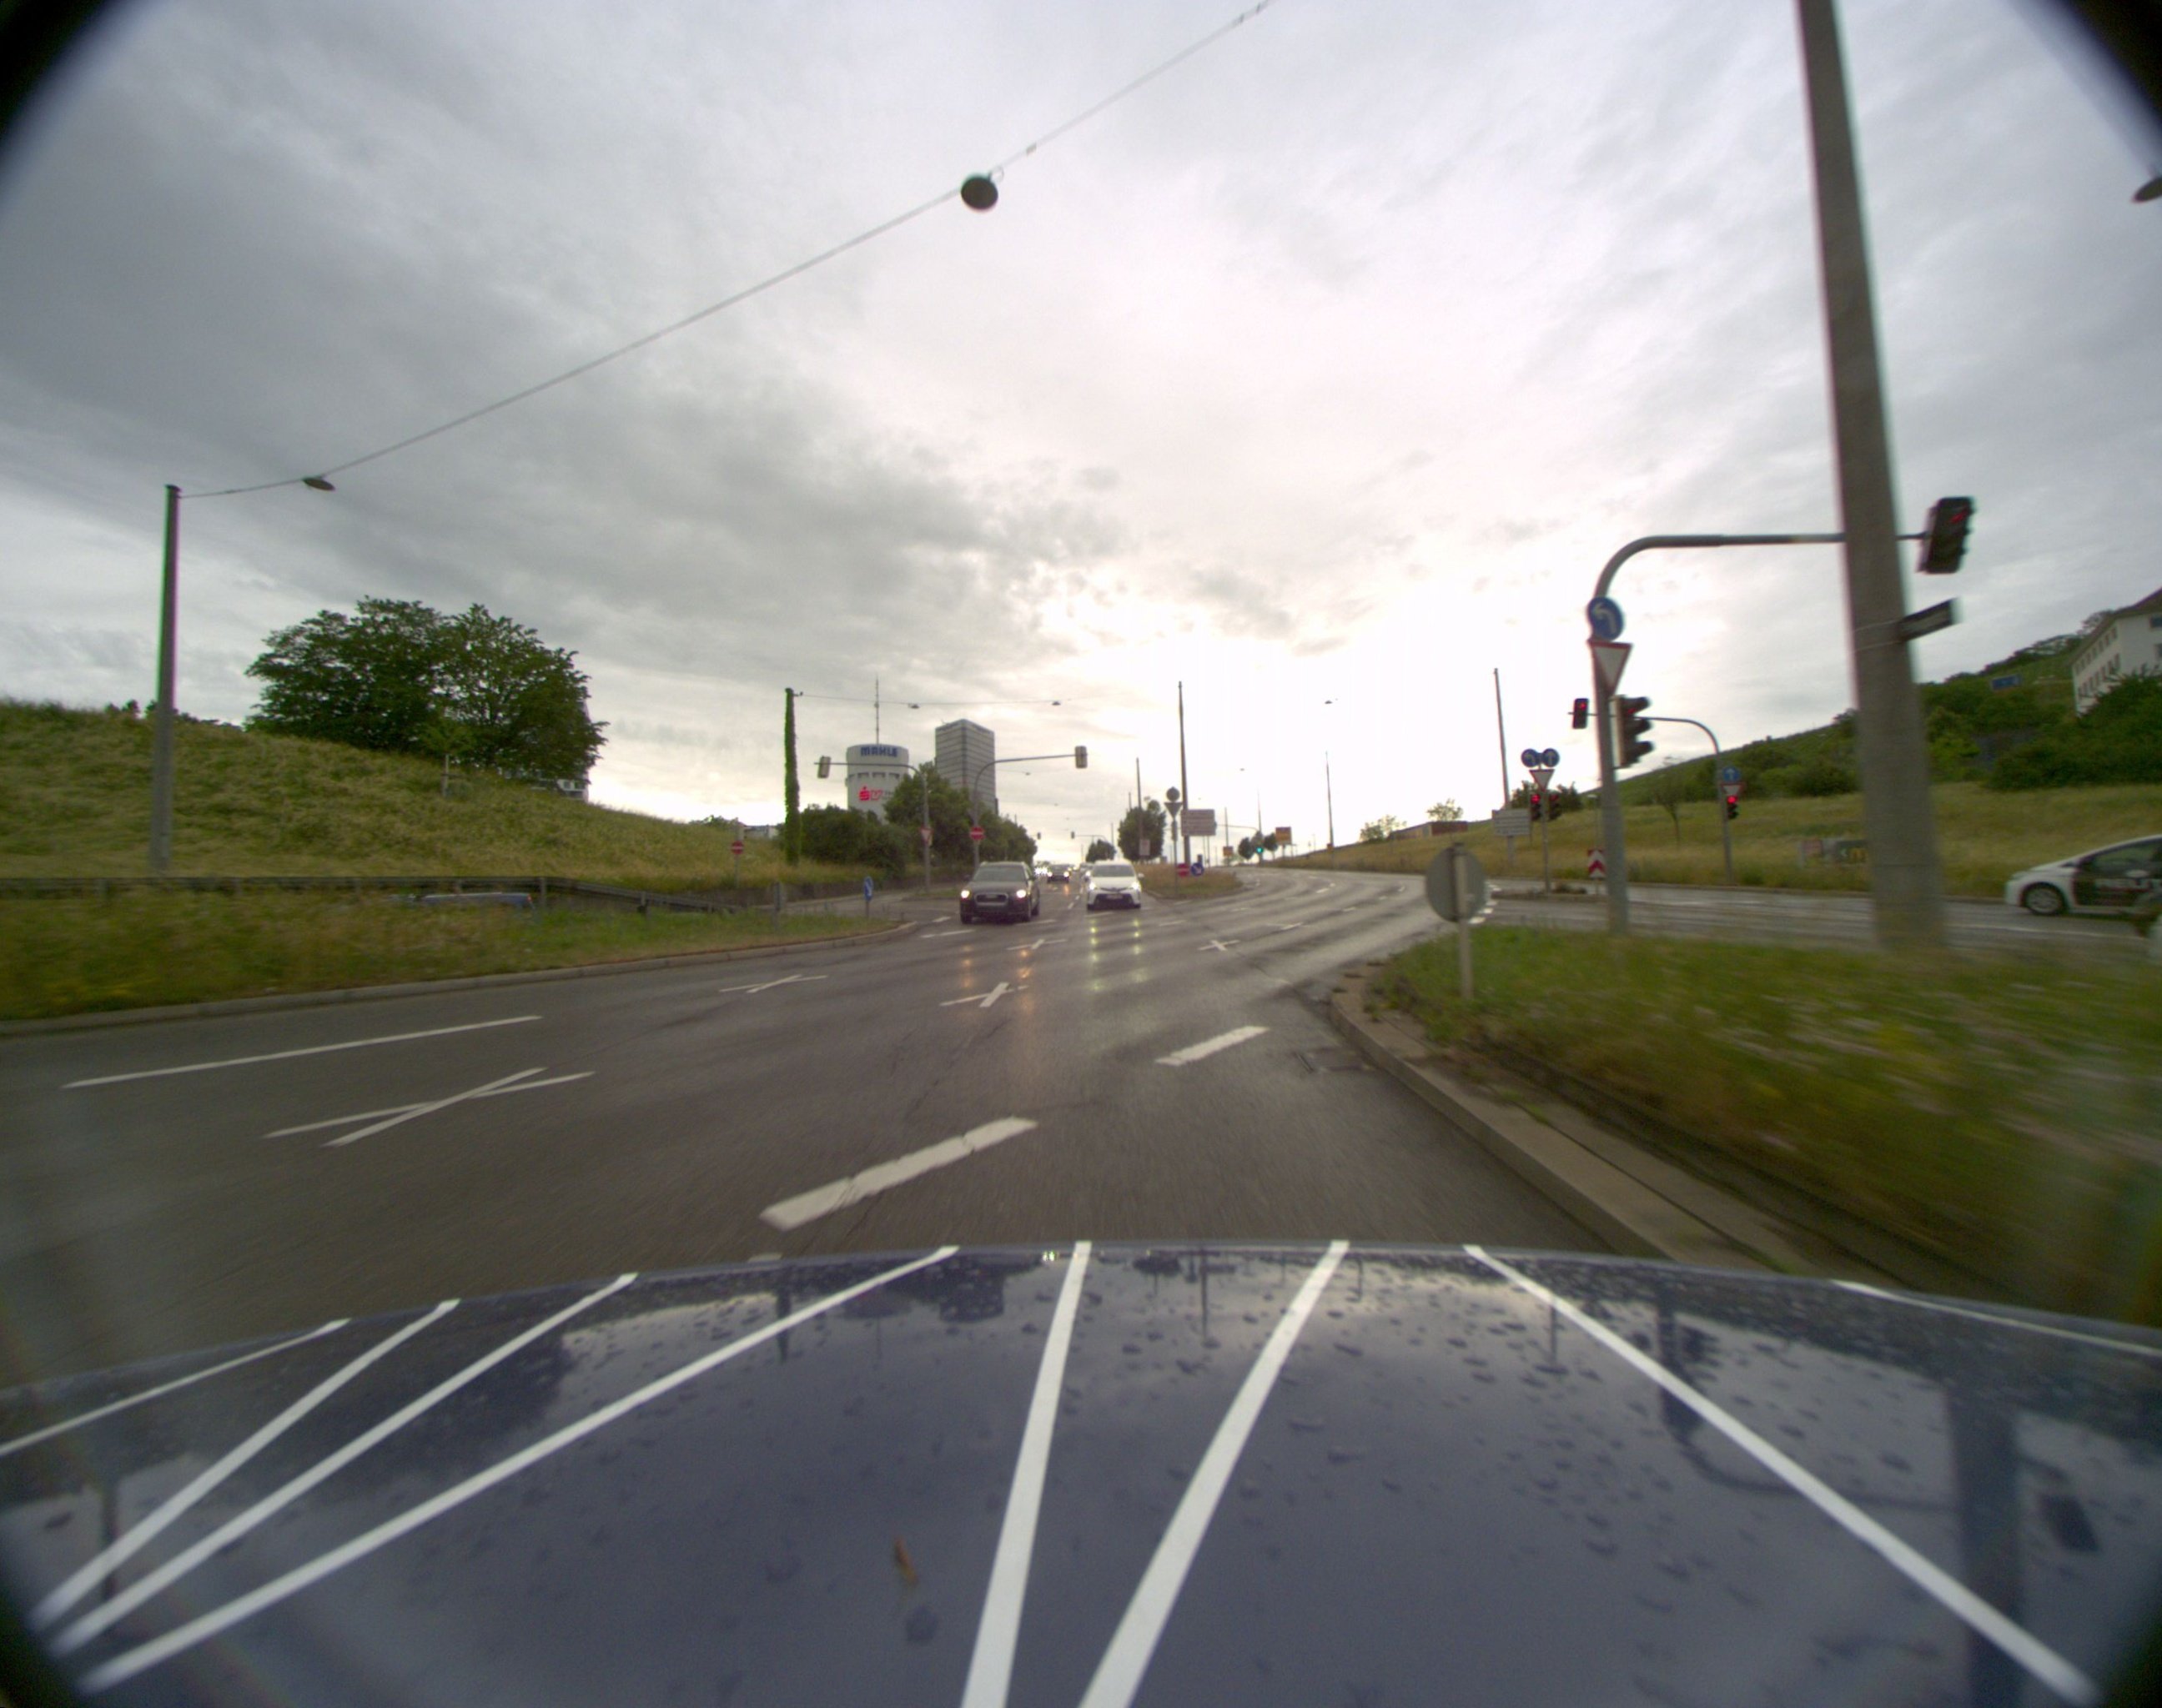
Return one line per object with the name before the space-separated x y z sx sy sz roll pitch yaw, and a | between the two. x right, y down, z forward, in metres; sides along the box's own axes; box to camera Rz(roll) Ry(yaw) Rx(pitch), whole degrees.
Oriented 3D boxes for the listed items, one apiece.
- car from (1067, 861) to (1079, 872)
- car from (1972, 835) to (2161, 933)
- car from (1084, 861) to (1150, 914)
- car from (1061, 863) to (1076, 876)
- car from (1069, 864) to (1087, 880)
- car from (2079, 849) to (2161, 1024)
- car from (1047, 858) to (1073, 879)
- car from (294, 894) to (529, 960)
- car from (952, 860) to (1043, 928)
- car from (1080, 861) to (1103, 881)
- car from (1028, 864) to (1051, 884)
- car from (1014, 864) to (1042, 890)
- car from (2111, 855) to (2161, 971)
car | -1.524 2.273 138.670 1.998 2.001 4.001 -2 -1 1
car | 19.344 0.482 13.235 1.998 1.634 4.799 -2 -1 0
car | 1.143 1.106 26.065 1.924 1.603 4.375 2 -1 -1
car | -1.652 2.042 99.910 1.782 1.591 4.121 -1 -1 2
car | -0.326 1.895 81.328 1.782 1.591 4.121 -1 -1 2
car | 9.926 0.623 4.537 1.966 1.413 4.437 -2 -1 -3
car | -1.598 1.139 59.882 1.782 1.591 3.901 -1 -1 2
car | -17.078 1.803 19.690 1.780 1.342 4.234 -2 -1 18
car | -2.179 1.037 21.073 1.927 1.591 4.280 -3 -1 1
car | 0.886 1.401 62.642 1.782 1.591 4.121 -1 -1 2
car | -4.310 2.082 79.317 1.998 2.001 4.001 -2 -1 1
car | -4.431 1.901 64.337 1.998 2.001 4.001 -2 -1 1
car | 13.074 0.634 6.937 1.808 1.299 4.018 0 -1 -3
